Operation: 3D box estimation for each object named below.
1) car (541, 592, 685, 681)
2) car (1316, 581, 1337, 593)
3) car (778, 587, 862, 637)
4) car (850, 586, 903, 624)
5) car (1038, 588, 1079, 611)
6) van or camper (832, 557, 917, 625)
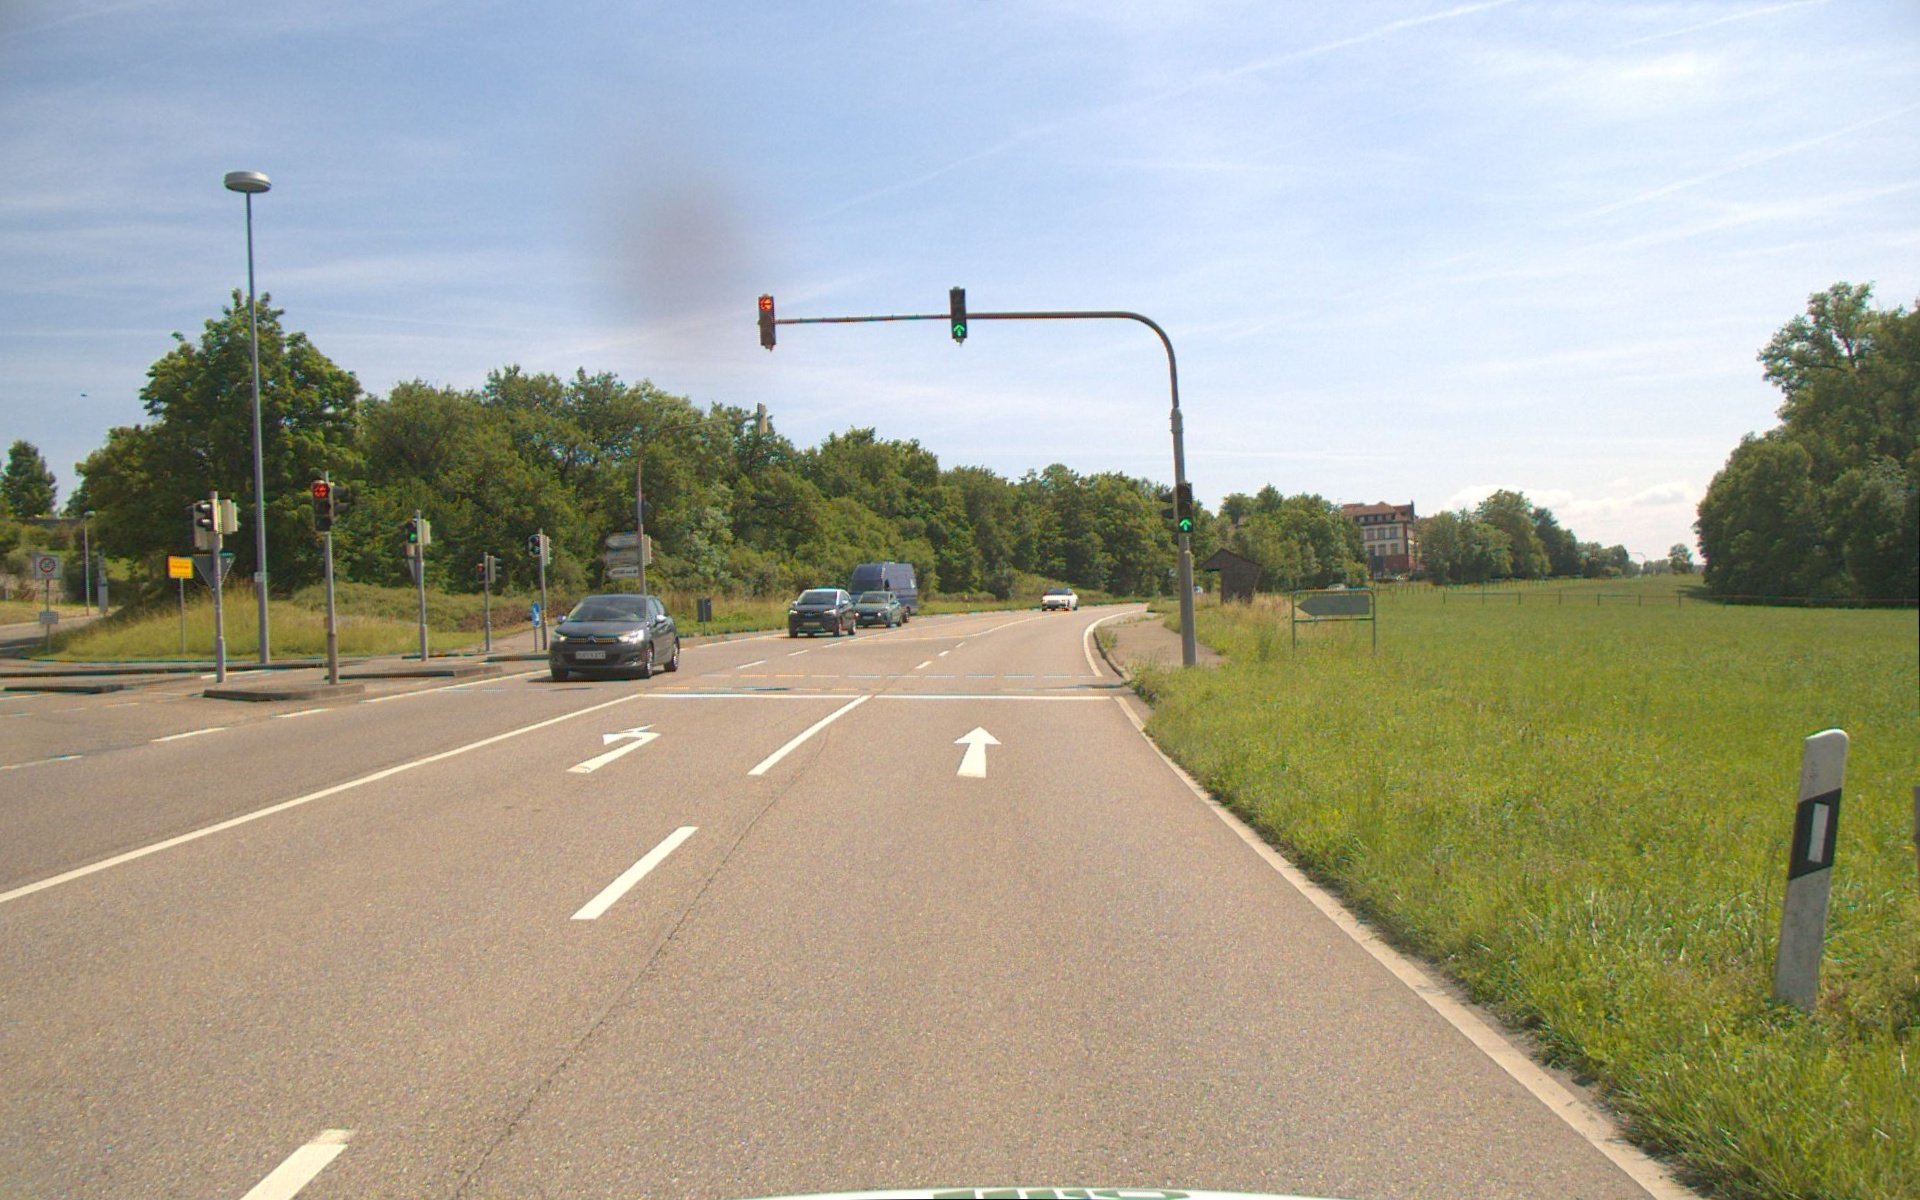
[{"bbox_3d":[-6.303,0.615,30.467,1.754,1.500,4.310,-1,0,-1],"label":"car"},{"bbox_3d":[49.304,-1.697,222.313,1.721,1.561,4.222,-1,0,28],"label":"car"},{"bbox_3d":[-4.652,0.370,55.510,1.932,1.589,4.192,-1,0,7],"label":"car"},{"bbox_3d":[-3.444,0.196,68.936,1.671,1.509,3.834,-1,0,5],"label":"car"},{"bbox_3d":[6.897,-0.047,115.372,1.896,1.575,4.631,-1,0,15],"label":"car"},{"bbox_3d":[-3.902,-0.492,77.176,2.192,2.964,7.254,-1,1,11],"label":"van or camper"}]
